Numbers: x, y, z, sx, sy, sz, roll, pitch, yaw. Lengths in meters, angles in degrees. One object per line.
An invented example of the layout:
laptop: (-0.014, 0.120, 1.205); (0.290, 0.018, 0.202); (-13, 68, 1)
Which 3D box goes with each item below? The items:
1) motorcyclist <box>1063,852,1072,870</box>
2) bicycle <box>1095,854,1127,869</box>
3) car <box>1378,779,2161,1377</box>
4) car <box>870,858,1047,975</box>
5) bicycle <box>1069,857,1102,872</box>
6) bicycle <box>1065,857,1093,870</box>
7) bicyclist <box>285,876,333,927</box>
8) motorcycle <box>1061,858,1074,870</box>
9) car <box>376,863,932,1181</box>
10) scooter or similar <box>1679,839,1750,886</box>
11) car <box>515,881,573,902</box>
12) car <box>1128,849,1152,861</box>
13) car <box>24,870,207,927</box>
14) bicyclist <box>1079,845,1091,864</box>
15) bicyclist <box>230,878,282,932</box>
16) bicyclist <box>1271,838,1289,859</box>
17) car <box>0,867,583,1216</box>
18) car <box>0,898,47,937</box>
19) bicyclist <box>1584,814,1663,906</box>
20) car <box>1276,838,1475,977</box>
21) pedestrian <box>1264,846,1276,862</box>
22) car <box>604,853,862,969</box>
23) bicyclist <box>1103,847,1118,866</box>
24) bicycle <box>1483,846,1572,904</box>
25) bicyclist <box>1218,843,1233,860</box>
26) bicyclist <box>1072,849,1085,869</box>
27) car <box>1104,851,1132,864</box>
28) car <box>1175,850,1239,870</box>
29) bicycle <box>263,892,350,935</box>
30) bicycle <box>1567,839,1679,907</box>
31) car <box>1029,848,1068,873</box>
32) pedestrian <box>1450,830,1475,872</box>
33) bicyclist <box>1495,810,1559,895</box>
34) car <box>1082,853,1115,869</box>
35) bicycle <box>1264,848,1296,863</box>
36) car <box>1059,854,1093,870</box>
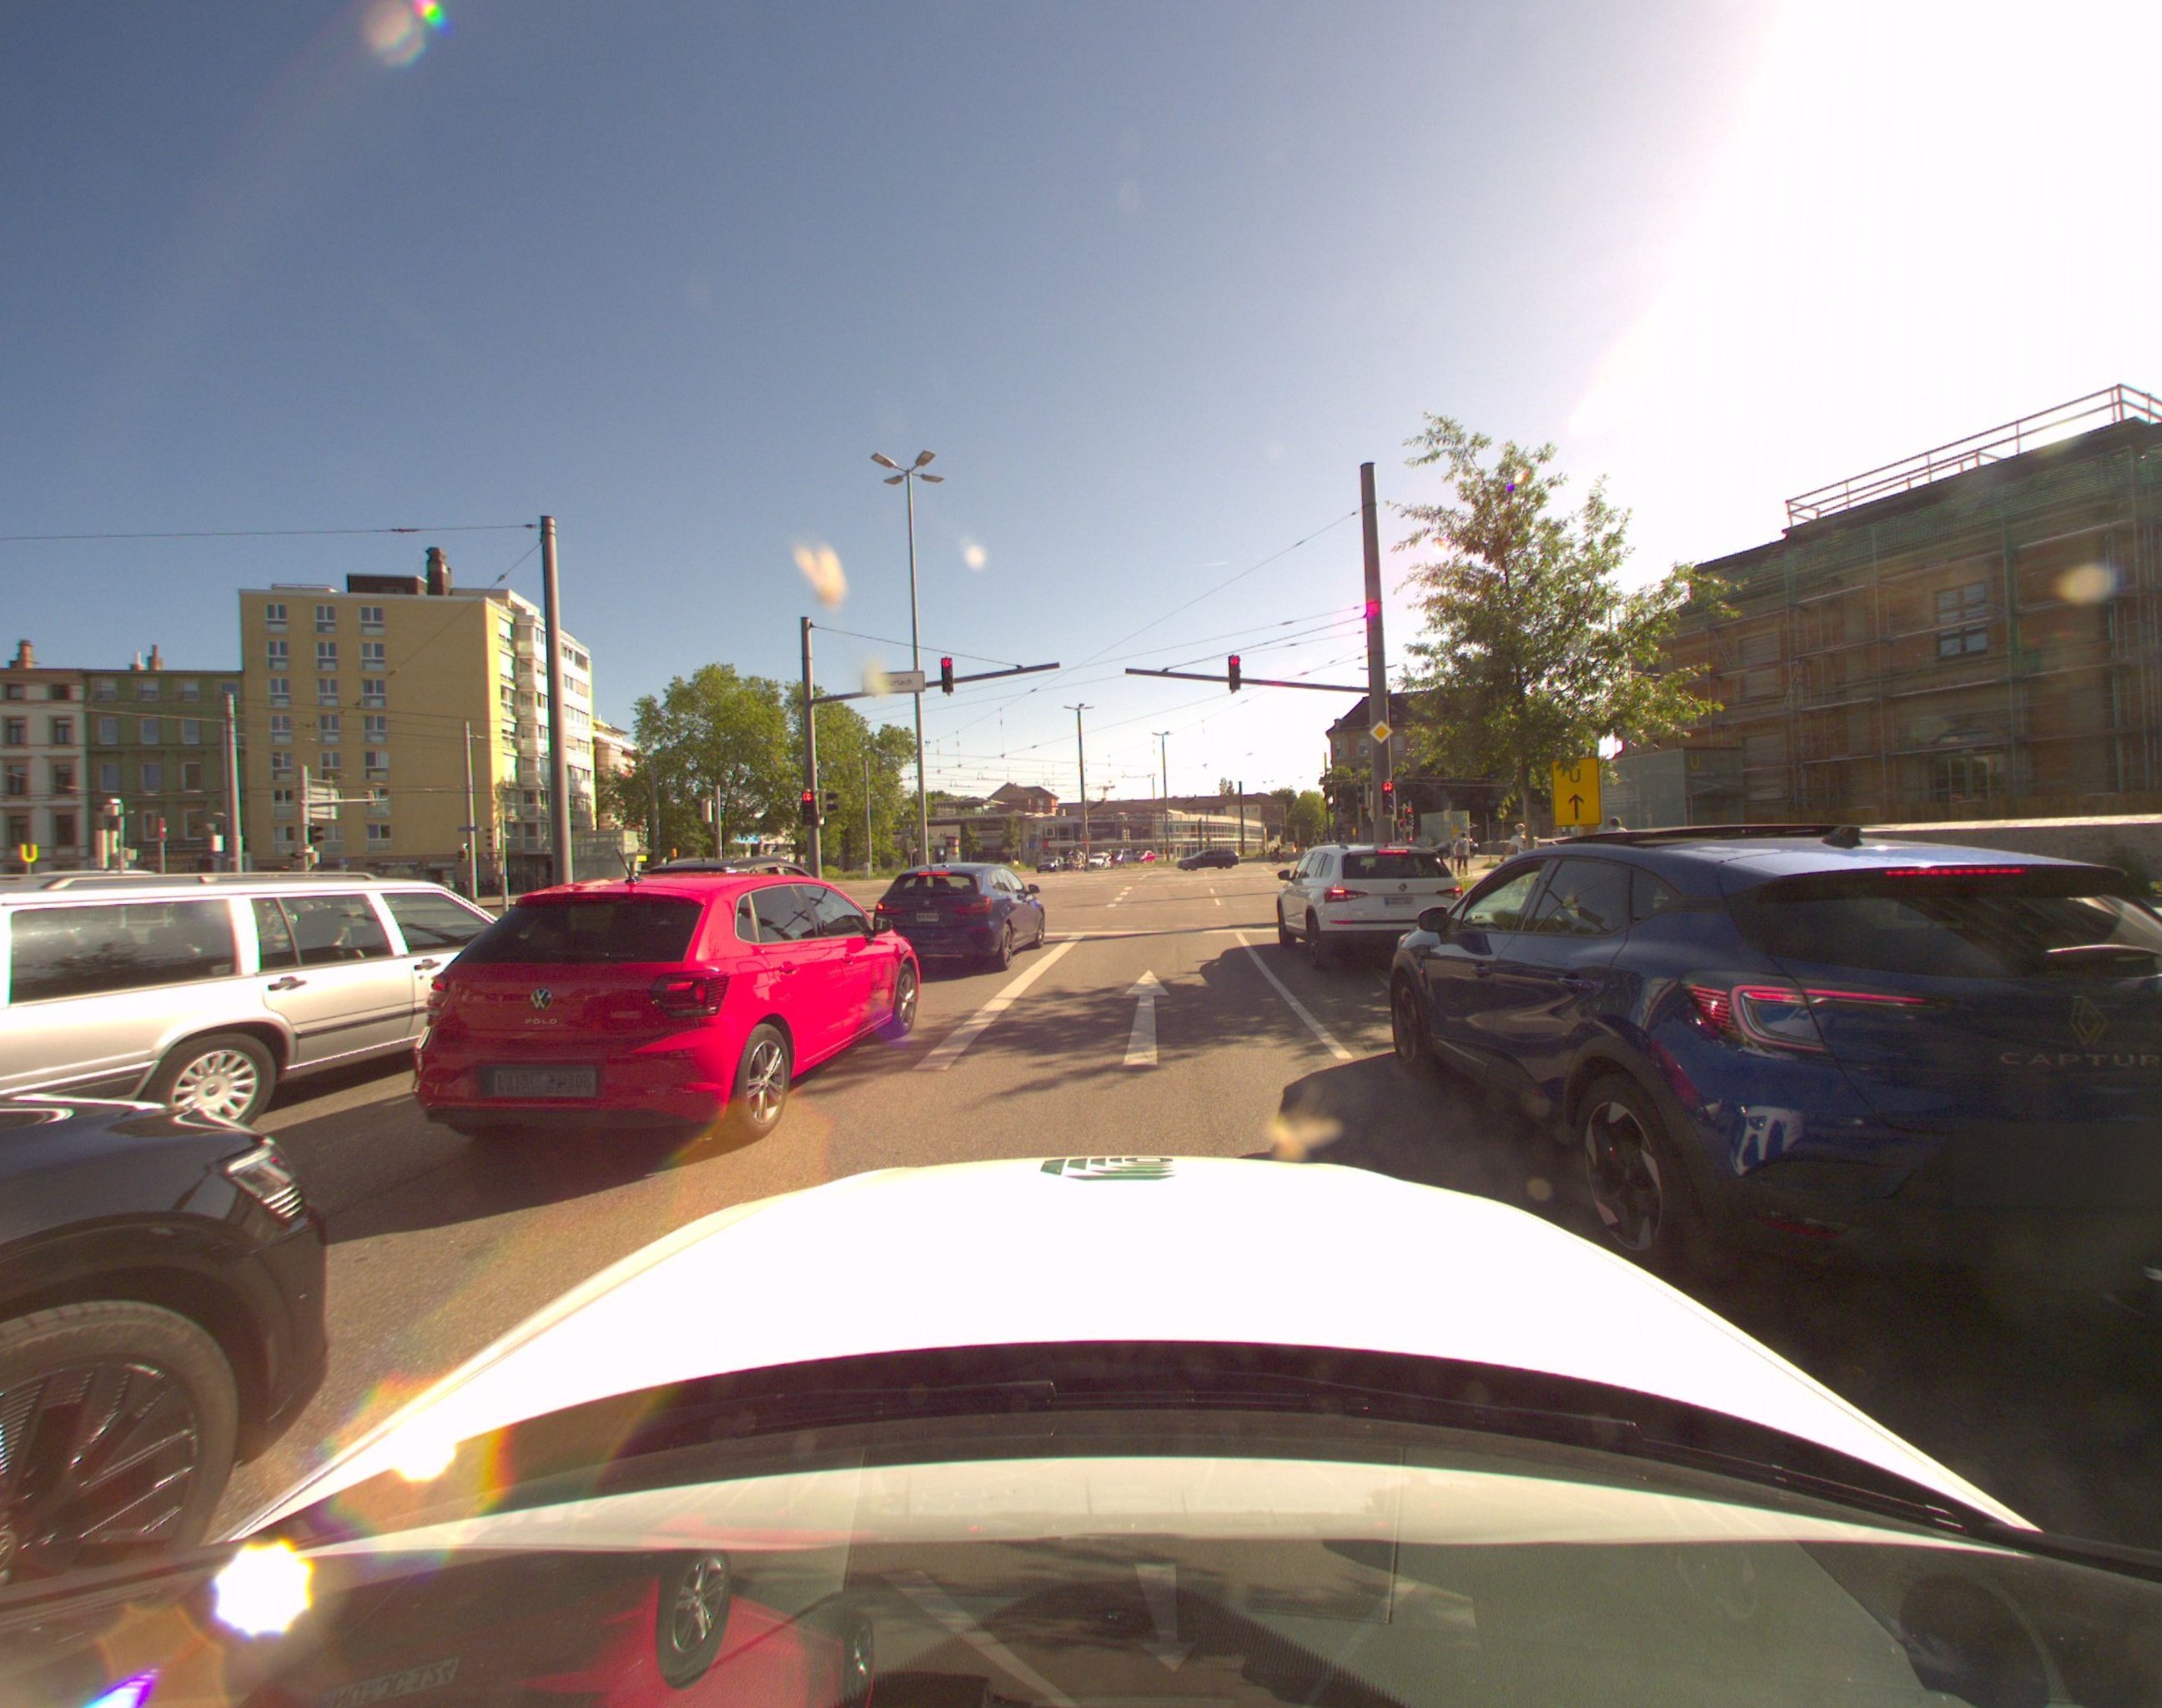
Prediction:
motorcyclist: (-1.216, 0.630, 73.017); (0.545, 1.621, 0.748); (-2, 0, 19)
bicycle: (2.591, 0.655, 70.675); (2.649, 1.188, 0.943); (-2, 2, -13)
car: (2.953, 0.618, 4.120); (1.867, 1.617, 3.804); (-1, 0, 6)
car: (-1.638, 0.801, 12.207); (1.716, 1.442, 3.805); (0, 0, 6)
bicycle: (0.385, 0.828, 66.533); (2.635, 1.095, 0.968); (-2, 0, -1)
bicycle: (-0.174, 0.800, 69.187); (2.179, 1.095, 0.756); (-2, 0, -12)
bicyclist: (-22.670, 1.375, 23.921); (0.771, 1.444, 0.644); (-2, -1, 2)
motorcycle: (-1.200, 0.896, 73.044); (0.557, 1.094, 1.845); (-2, 0, 19)
car: (-2.394, 0.804, 5.731); (1.663, 1.442, 3.727); (0, 0, 6)
scooter or similar: (14.455, 0.175, 18.598); (0.468, 1.012, 1.243); (-2, 2, -17)
car: (-42.886, 2.986, 65.140); (3.438, 1.510, 1.684); (-2, 0, -15)
car: (7.176, 0.121, 98.782); (1.710, 1.442, 4.207); (0, 0, 23)
car: (-46.139, 2.083, 39.072); (5.492, 2.411, 1.991); (-2, 0, -13)
bicyclist: (0.312, 0.050, 66.529); (0.959, 1.449, 0.968); (-2, 0, 0)
bicyclist: (-22.833, 1.402, 22.552); (0.771, 1.444, 0.644); (-2, -1, 4)
bicyclist: (17.374, -0.462, 71.091); (1.188, 1.776, 0.941); (-2, 2, -20)
car: (-5.422, 0.868, 5.367); (1.717, 1.442, 3.803); (-2, 0, 4)
car: (-63.953, 3.773, 47.526); (3.989, 2.013, 1.993); (-2, 2, -12)
bicyclist: (10.075, 0.102, 15.158); (0.718, 1.617, 0.976); (-2, 0, -4)
car: (3.888, 0.635, 11.390); (1.866, 1.617, 3.632); (-1, 0, 7)
pedestrian: (19.109, -0.016, 82.306); (0.854, 1.610, 0.697); (-3, 2, -31)
car: (-4.938, 0.710, 12.232); (1.715, 1.442, 3.920); (0, 0, 9)
bicyclist: (2.592, 0.247, 70.650); (1.064, 1.584, 0.943); (-2, 2, -13)
bicycle: (9.709, 0.442, 17.800); (0.745, 1.165, 1.866); (-2, 0, -7)
bicyclist: (13.576, -0.252, 76.436); (1.064, 1.584, 0.943); (-2, 2, -13)
bicyclist: (-0.215, 0.412, 69.190); (0.986, 1.604, 0.756); (-2, 0, -12)
car: (4.189, 0.427, 92.003); (1.710, 1.442, 4.207); (0, 0, 23)
car: (9.357, 0.446, 60.623); (4.367, 1.442, 1.722); (0, 0, -15)
bicycle: (-22.729, 1.748, 23.916); (1.942, 1.165, 0.643); (-2, -1, 2)
bicycle: (10.076, 0.335, 15.222); (0.715, 1.165, 1.867); (-2, 0, -4)
car: (-2.917, 0.585, 74.149); (1.976, 2.013, 4.023); (-1, 2, 24)
pedestrian: (15.828, -0.119, 33.808); (0.875, 1.723, 0.588); (1, -3, -44)
bicyclist: (9.681, -0.037, 17.704); (0.719, 1.762, 0.975); (-2, 0, -7)
car: (1.699, 0.678, 77.946); (1.710, 1.442, 4.207); (-2, 0, 23)
bicycle: (17.343, 0.143, 71.100); (2.655, 1.188, 0.941); (-2, 2, -21)
car: (-0.463, 0.767, 80.614); (1.710, 1.442, 4.207); (-2, 0, 23)
